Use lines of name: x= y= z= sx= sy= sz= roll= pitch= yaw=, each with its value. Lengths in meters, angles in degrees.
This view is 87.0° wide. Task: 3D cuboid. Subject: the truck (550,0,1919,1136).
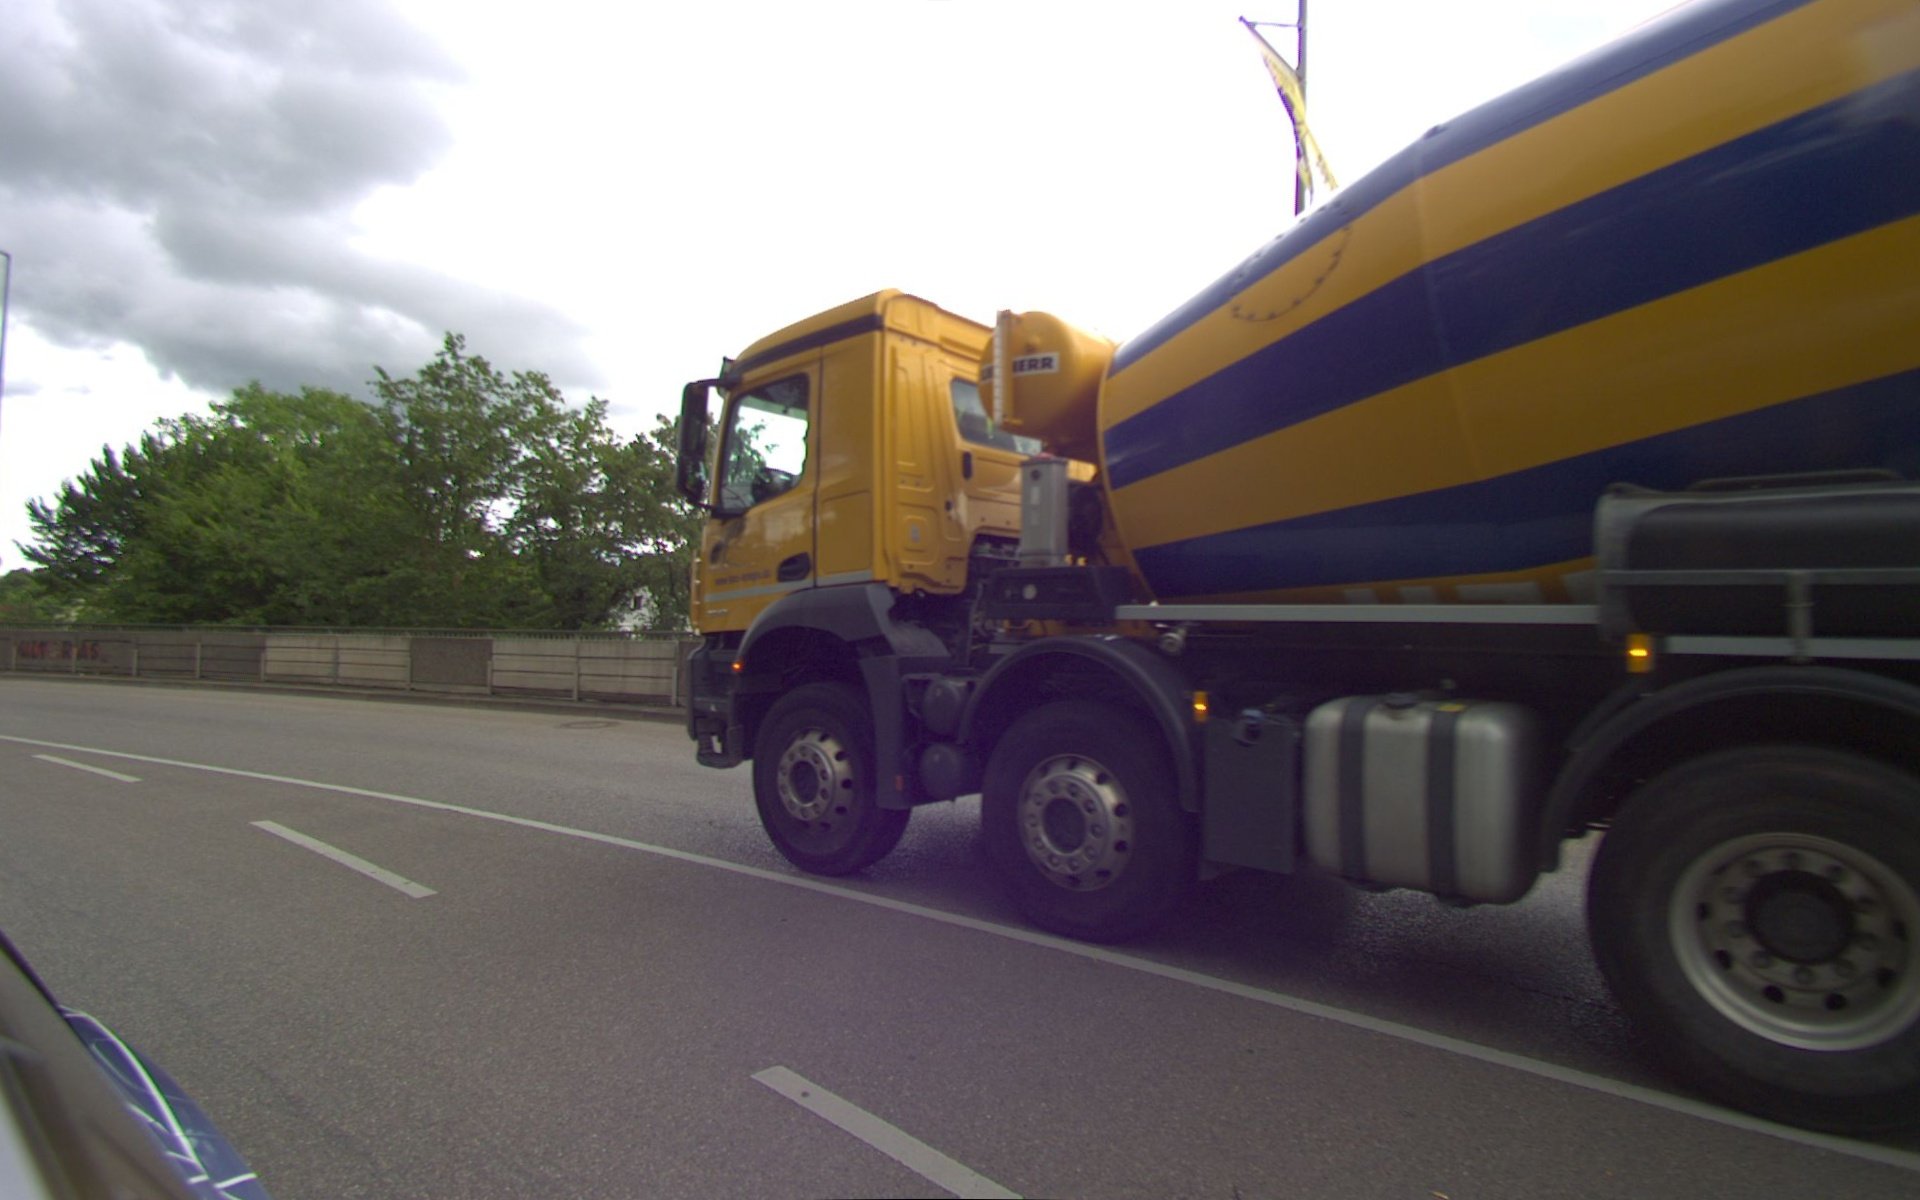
truck: x=1.718 y=-0.594 z=4.930 sx=10.105 sy=3.969 sz=2.627 roll=-1 pitch=-1 yaw=41
